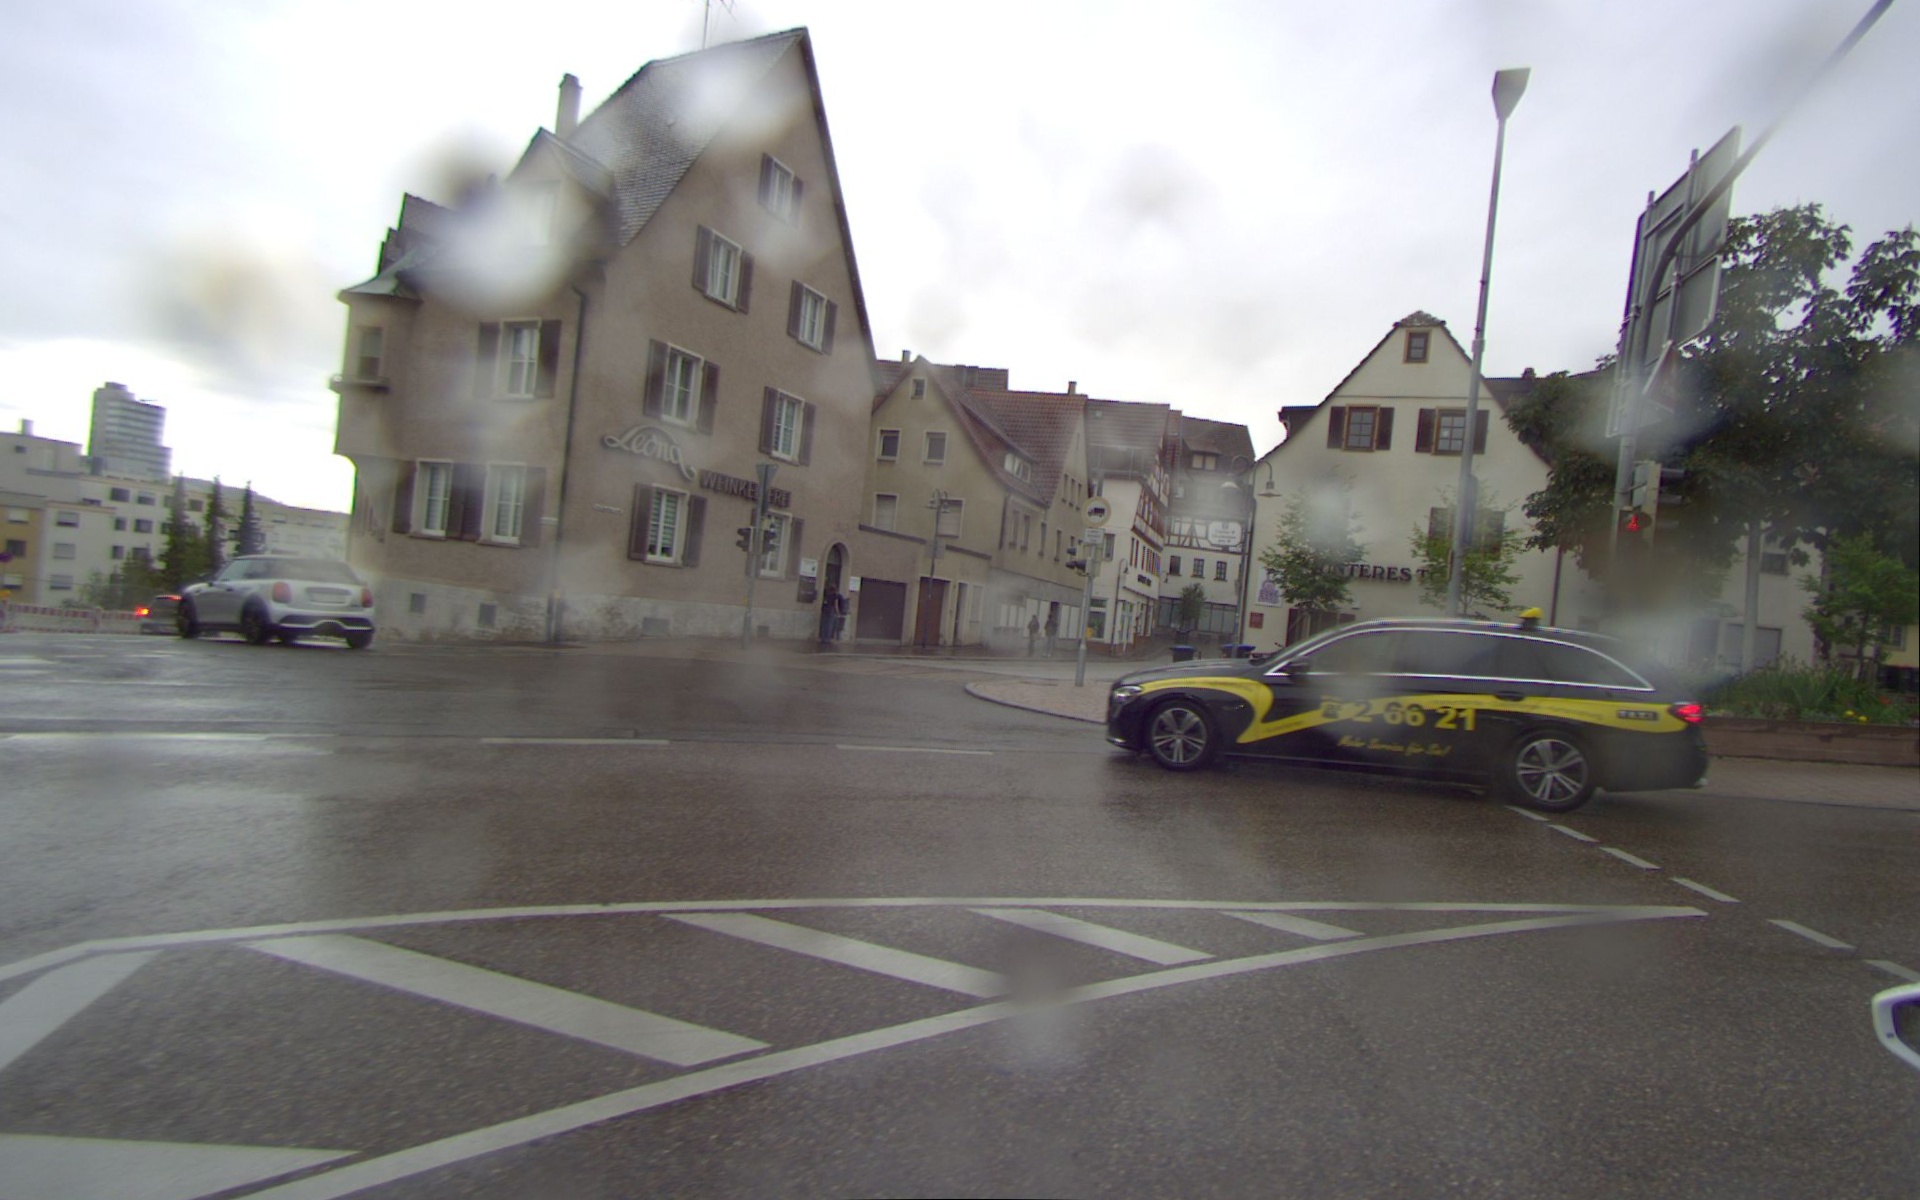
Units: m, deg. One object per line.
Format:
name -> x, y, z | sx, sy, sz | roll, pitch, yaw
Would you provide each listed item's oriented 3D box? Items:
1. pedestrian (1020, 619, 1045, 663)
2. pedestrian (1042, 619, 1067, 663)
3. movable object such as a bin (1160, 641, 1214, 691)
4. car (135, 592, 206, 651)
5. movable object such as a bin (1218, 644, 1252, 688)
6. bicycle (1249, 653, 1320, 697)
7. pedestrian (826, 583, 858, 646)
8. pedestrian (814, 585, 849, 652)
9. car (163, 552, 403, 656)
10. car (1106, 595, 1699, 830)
pedestrian -> 3.017, 1.689, 41.760 | 0.767, 1.755, 0.630 | 3, 1, 26
pedestrian -> 3.897, 1.664, 41.329 | 0.767, 1.755, 0.630 | 3, 1, 26
movable object such as a bin -> 4.921, 1.431, 21.768 | 0.779, 0.938, 0.720 | 6, 1, -30
car -> -22.964, 0.594, 29.264 | 1.522, 1.497, 3.353 | 2, 1, -38
movable object such as a bin -> 6.195, 1.479, 22.649 | 0.576, 0.913, 0.584 | 5, 1, 6
bicycle -> 6.774, 1.573, 20.961 | 1.414, 0.829, 0.337 | 3, 4, -17
pedestrian -> -3.449, 0.426, 29.417 | 0.546, 1.751, 0.537 | 6, 0, 31
pedestrian -> -3.664, 0.525, 28.629 | 0.782, 1.855, 0.714 | 1, 0, 7
car -> -11.283, 0.027, 16.685 | 3.933, 1.450, 1.994 | 3, 1, 35
car -> 3.682, 0.833, 9.043 | 4.326, 1.559, 2.000 | 2, 0, 20
